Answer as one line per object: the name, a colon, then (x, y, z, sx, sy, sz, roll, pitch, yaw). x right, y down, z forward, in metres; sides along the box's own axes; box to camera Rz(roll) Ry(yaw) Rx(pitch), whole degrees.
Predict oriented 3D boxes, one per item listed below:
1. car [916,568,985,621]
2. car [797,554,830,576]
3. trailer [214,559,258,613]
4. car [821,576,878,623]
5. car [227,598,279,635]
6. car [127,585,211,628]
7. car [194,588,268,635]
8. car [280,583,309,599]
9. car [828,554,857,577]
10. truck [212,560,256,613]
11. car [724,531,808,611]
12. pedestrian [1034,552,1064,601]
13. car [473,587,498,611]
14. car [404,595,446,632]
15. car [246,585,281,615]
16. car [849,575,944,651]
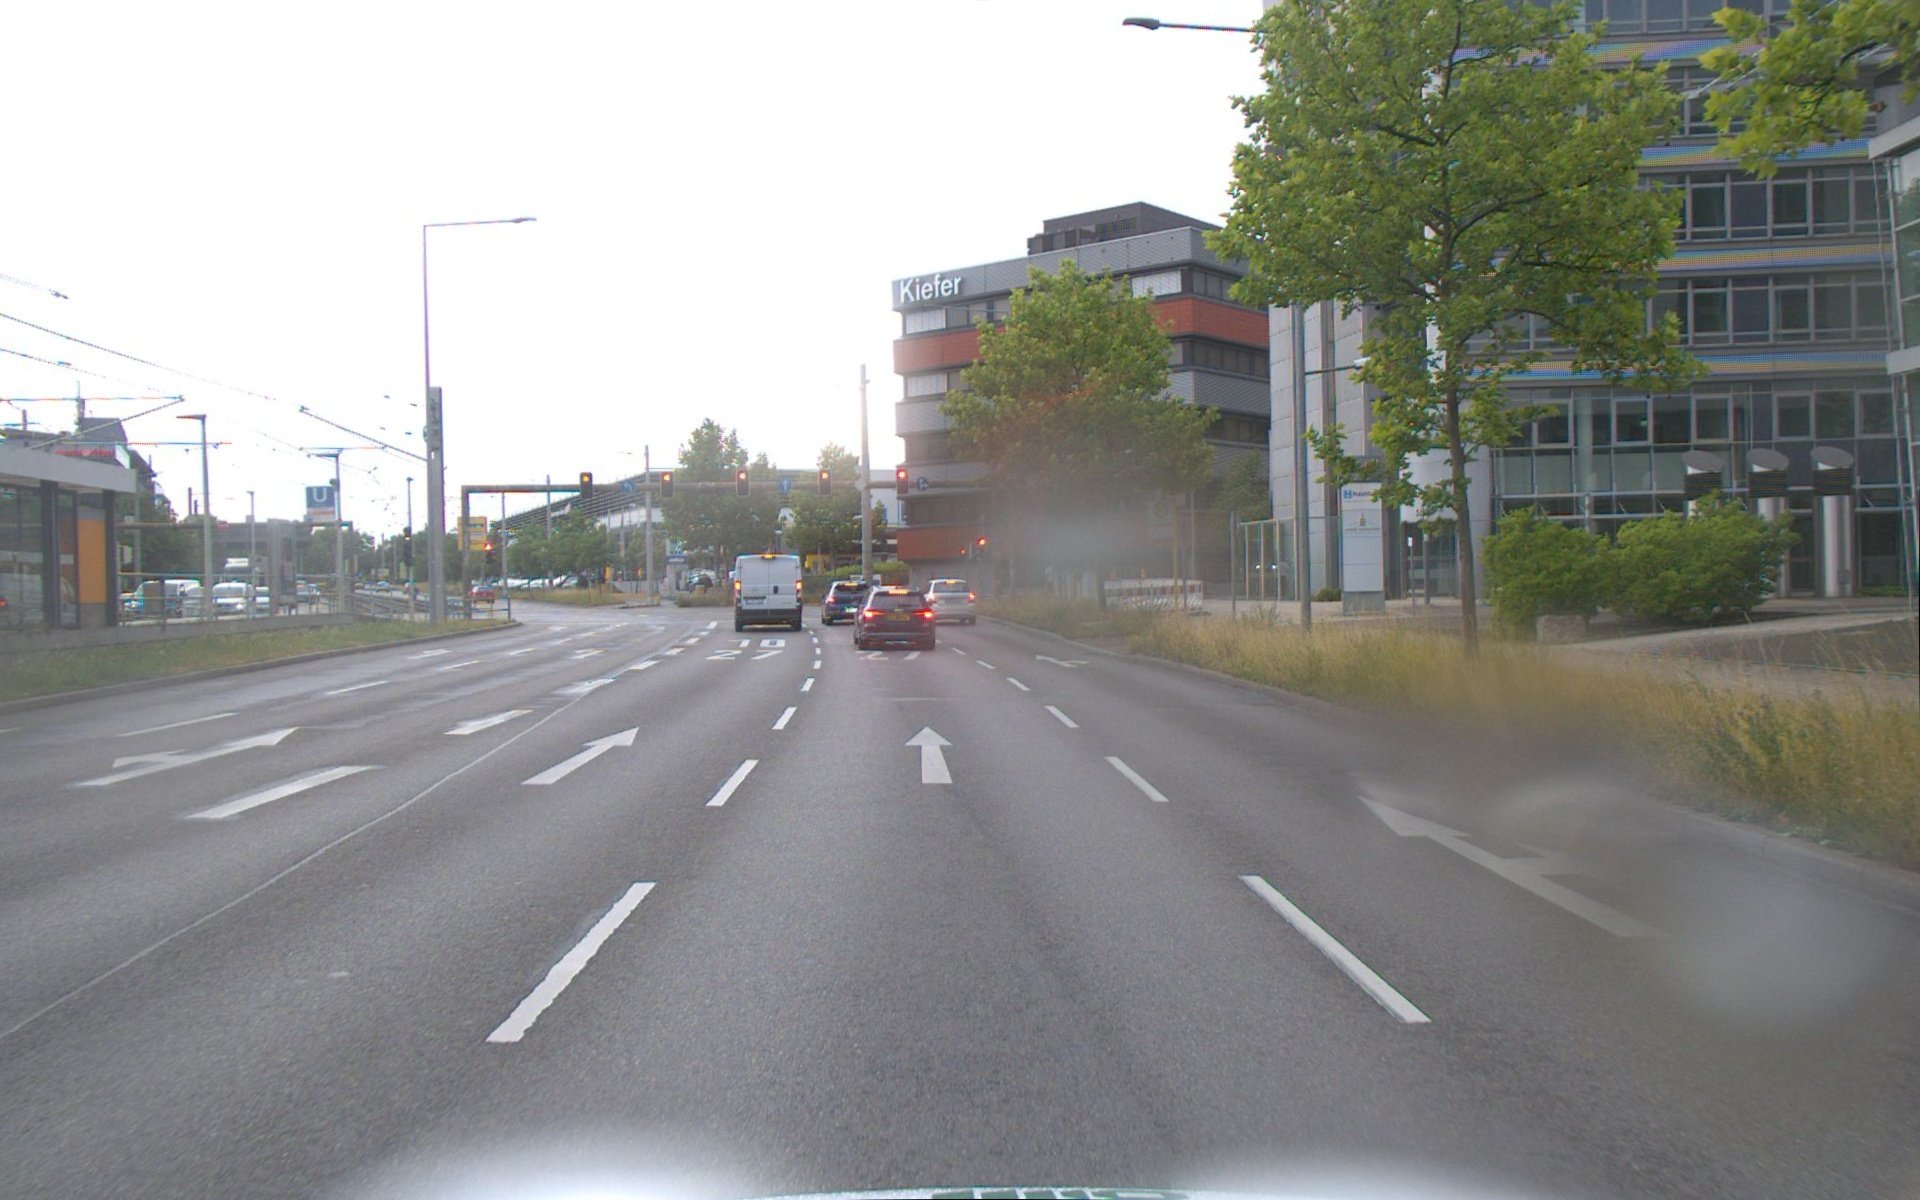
car: (-0.360, -0.176, 55.306, 1.794, 1.685, 3.993, -1, 0, -8)
car: (-13.929, -3.305, 156.856, 1.848, 2.049, 3.741, 1, 0, -27)
trailer: (-59.863, -1.232, 137.012, 2.755, 4.178, 11.368, -2, 2, -21)
car: (-3.790, -0.028, 56.473, 1.857, 1.491, 3.905, -1, 0, -5)
car: (-40.538, 0.905, 94.861, 1.740, 2.049, 4.337, 1, 0, -10)
car: (-33.669, 0.260, 70.548, 1.957, 1.761, 5.018, 1, 0, -10)
car: (-36.295, 0.537, 82.483, 1.956, 2.253, 5.135, 1, 0, -7)
car: (-57.806, -0.785, 143.686, 1.877, 1.286, 4.394, 1, 0, -16)
car: (-10.585, -3.090, 148.780, 1.652, 2.049, 3.115, 1, 0, -23)
truck: (-58.084, -1.102, 132.471, 2.792, 4.065, 5.949, -2, 1, -21)
car: (-6.072, -0.857, 51.243, 2.400, 2.334, 4.895, 1, 0, -9)
pedestrian: (4.048, -1.089, 75.167, 1.122, 2.162, 1.221, -2, 2, -7)
car: (-40.908, -0.085, 142.571, 1.747, 2.049, 4.320, 1, 0, -21)
car: (-32.413, 0.796, 100.298, 1.740, 2.048, 4.338, 1, 1, -9)
car: (-40.604, -0.012, 96.438, 1.504, 1.695, 4.246, 1, 0, -18)
car: (-1.533, 0.289, 38.790, 1.955, 1.666, 3.995, 1, 0, -6)
